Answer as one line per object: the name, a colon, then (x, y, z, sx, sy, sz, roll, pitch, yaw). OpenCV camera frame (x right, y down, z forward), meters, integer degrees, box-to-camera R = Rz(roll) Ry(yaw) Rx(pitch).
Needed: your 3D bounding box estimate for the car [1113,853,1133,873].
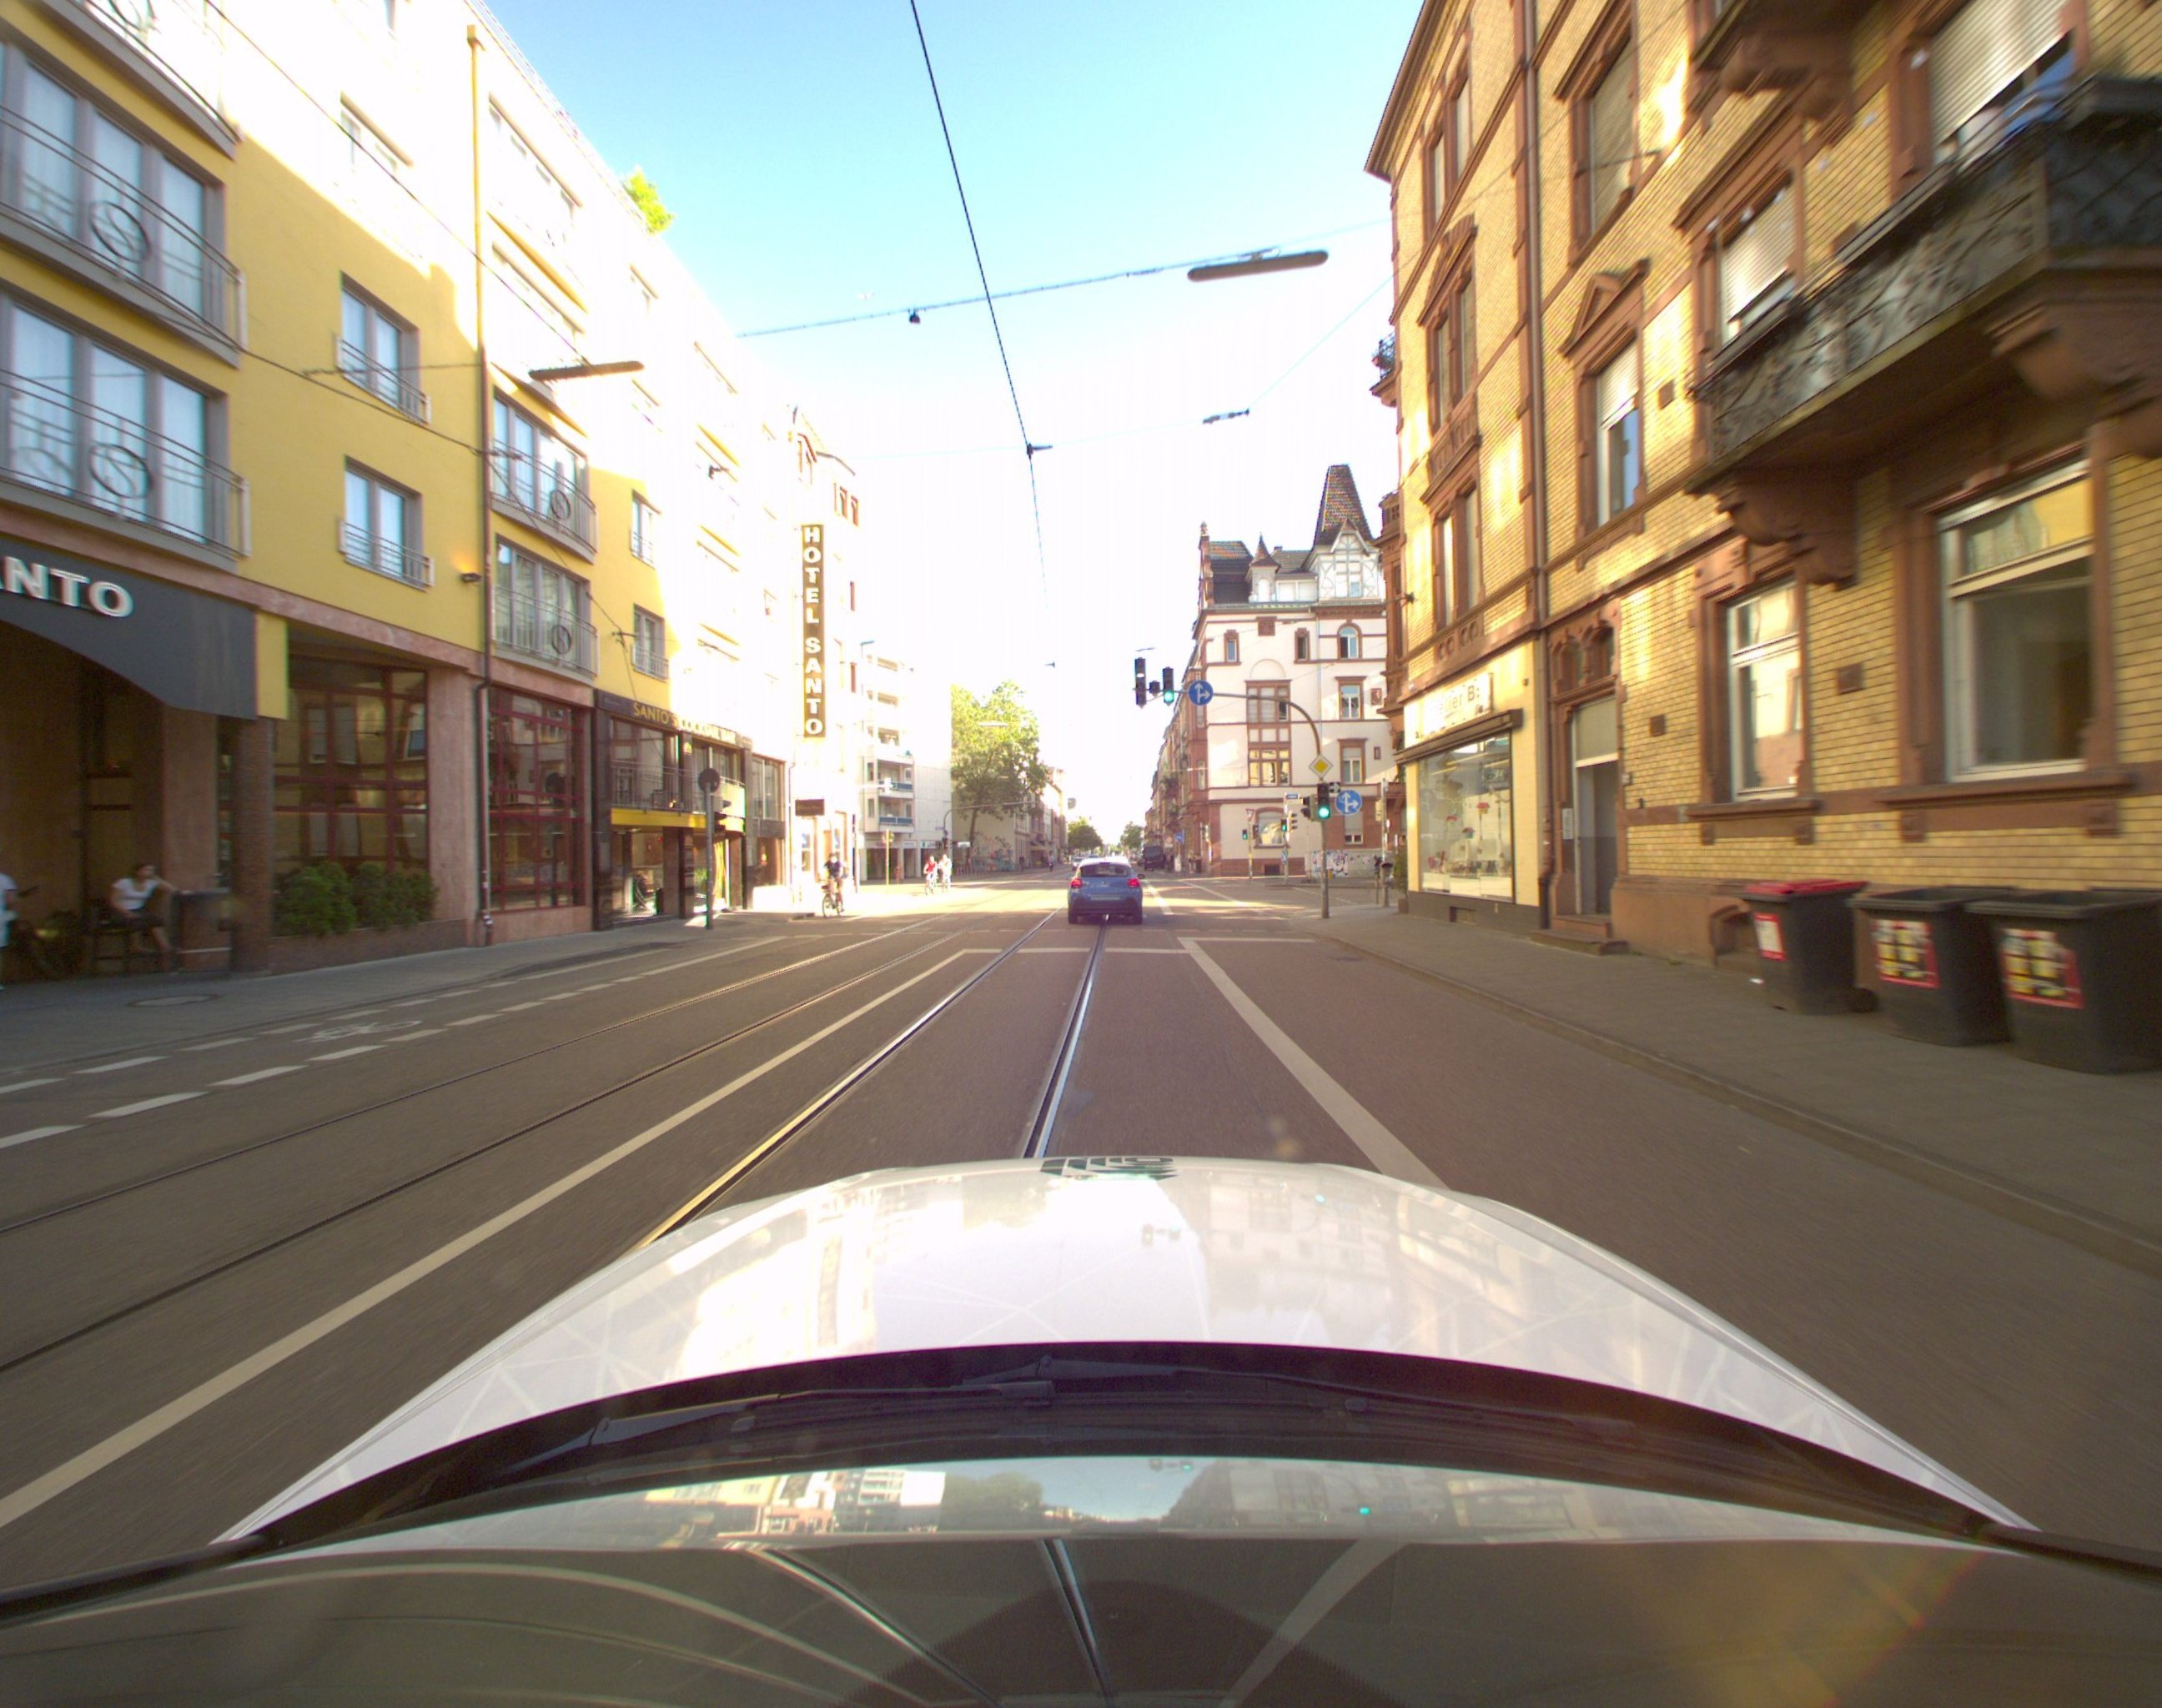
car: (4.444, 0.963, 86.789, 1.986, 2.013, 4.001, -2, 0, 1)

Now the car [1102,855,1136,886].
car: (1.922, 0.838, 42.180, 1.661, 1.478, 4.001, -2, 0, 2)

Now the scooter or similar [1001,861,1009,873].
scooter or similar: (-8.138, 1.403, 87.255, 0.785, 1.271, 1.075, 1, 1, 1)

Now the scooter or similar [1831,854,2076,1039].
scooter or similar: (6.100, 0.615, 5.741, 0.930, 1.148, 0.650, -5, 0, 1)

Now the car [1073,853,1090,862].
car: (0.164, 1.021, 227.684, 4.327, 2.581, 2.192, -1, 0, -23)

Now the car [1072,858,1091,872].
car: (0.114, 1.235, 91.927, 1.978, 1.502, 4.310, -1, 0, 2)

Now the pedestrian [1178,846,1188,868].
pedestrian: (8.262, 0.236, 66.083, 0.625, 1.701, 0.681, -1, 0, -7)

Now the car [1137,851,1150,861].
car: (10.589, 0.379, 138.069, 1.995, 1.672, 4.398, -1, 0, 6)

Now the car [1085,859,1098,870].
car: (1.780, 1.715, 131.059, 1.986, 1.744, 4.564, -1, 0, 1)

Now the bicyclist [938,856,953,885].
bicyclist: (-6.606, 0.790, 39.803, 0.588, 1.376, 0.679, -1, -1, 1)

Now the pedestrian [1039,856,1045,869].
pedestrian: (-5.171, 1.104, 108.159, 0.708, 1.764, 0.570, -2, -1, 1)

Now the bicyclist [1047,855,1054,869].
bicyclist: (-3.322, 0.868, 88.974, 0.680, 1.483, 0.779, -1, 0, 1)

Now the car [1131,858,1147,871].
car: (8.089, 1.419, 113.944, 1.997, 1.672, 4.809, -2, 0, 2)

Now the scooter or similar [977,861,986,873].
scooter or similar: (-10.648, 1.360, 87.169, 0.937, 1.222, 0.765, -1, 0, -10)

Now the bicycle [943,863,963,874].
bicycle: (-12.491, 1.402, 79.691, 1.898, 1.034, 0.669, -1, 0, 28)

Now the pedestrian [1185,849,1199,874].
pedestrian: (8.497, 0.591, 62.438, 0.703, 1.782, 0.673, -9, -1, 1)

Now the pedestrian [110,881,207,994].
pedestrian: (-13.083, 1.166, 11.558, 0.701, 1.547, 0.602, -1, -1, 7)

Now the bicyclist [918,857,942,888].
bicyclist: (-6.852, 0.832, 36.976, 0.733, 1.381, 1.469, -1, 0, 1)

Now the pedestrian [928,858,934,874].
pedestrian: (-15.792, 1.256, 85.842, 0.454, 1.718, 0.547, -2, -1, 1)

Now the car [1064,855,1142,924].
car: (0.477, 0.791, 19.862, 1.668, 1.477, 3.999, -1, 0, 0)

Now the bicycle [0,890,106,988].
bicycle: (-14.115, 1.112, 10.442, 0.578, 1.203, 2.085, -1, 0, 7)

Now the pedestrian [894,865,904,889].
pedestrian: (-11.912, 1.495, 53.307, 0.540, 1.552, 0.516, -1, -1, 1)

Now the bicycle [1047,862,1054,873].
bicycle: (-3.311, 1.472, 88.625, 0.690, 1.120, 2.084, -1, 0, 2)

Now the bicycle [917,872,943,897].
bicycle: (-6.846, 1.371, 37.011, 0.728, 1.065, 2.062, -1, 0, 1)

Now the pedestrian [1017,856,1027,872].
pedestrian: (-6.363, 1.080, 87.945, 0.677, 1.765, 1.029, -1, 0, 13)

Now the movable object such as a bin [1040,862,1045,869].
movable object such as a bin: (-5.113, 1.499, 108.829, 0.608, 0.914, 0.695, -2, 0, 2)

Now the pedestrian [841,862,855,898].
pedestrian: (-9.277, 1.015, 32.421, 0.402, 1.410, 0.516, -1, -1, 1)

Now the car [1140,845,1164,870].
car: (7.525, 0.374, 86.832, 2.262, 2.437, 5.723, -1, 0, 2)

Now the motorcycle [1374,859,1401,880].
motorcycle: (16.780, 0.822, 44.606, 0.608, 1.125, 2.391, -1, 0, 2)

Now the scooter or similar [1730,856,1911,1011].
scooter or similar: (6.117, 0.638, 6.770, 0.894, 1.148, 0.547, -6, 0, 0)

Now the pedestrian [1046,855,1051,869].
pedestrian: (-4.312, 1.087, 108.232, 0.708, 1.764, 0.654, -2, -1, -1)

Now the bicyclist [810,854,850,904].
bicyclist: (-7.141, 0.687, 23.225, 0.721, 1.381, 1.228, -1, 0, 1)

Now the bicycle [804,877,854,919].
bicycle: (-7.142, 1.229, 23.206, 0.728, 1.088, 2.062, -1, 0, 1)

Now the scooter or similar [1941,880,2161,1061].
scooter or similar: (6.113, 0.681, 5.035, 0.787, 0.957, 0.680, -5, 0, 1)

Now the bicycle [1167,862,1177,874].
bicycle: (7.433, 1.136, 66.485, 0.430, 0.947, 1.761, -1, 0, -4)

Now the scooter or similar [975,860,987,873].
scooter or similar: (-10.528, 1.322, 85.960, 1.228, 1.258, 0.765, -1, 0, -10)

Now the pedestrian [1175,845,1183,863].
pedestrian: (10.343, -0.015, 85.880, 0.551, 1.782, 0.606, 6, 0, 1)

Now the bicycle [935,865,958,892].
bicycle: (-6.555, 1.213, 39.758, 0.728, 1.184, 2.061, -1, -5, 1)

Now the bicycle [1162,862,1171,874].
bicycle: (6.967, 1.148, 66.475, 0.430, 0.947, 1.761, -1, 0, -4)

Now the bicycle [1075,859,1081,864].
bicycle: (-0.747, 1.704, 179.123, 1.118, 1.146, 3.640, -2, 0, -3)

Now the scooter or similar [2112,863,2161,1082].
scooter or similar: (6.116, 0.610, 4.084, 0.787, 1.148, 0.790, -5, 0, 1)

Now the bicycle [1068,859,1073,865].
bicycle: (-2.316, 1.829, 178.936, 1.118, 1.319, 3.640, -2, 0, -3)

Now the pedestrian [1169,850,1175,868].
pedestrian: (10.044, 0.558, 90.116, 0.583, 2.014, 0.823, -1, -1, 1)

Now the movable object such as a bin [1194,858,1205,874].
movable object such as a bin: (8.835, 0.891, 60.710, 0.663, 1.153, 0.595, -1, 0, 1)

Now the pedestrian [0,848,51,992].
pedestrian: (-13.567, 0.811, 10.142, 0.558, 1.770, 0.724, -1, -1, 7)
